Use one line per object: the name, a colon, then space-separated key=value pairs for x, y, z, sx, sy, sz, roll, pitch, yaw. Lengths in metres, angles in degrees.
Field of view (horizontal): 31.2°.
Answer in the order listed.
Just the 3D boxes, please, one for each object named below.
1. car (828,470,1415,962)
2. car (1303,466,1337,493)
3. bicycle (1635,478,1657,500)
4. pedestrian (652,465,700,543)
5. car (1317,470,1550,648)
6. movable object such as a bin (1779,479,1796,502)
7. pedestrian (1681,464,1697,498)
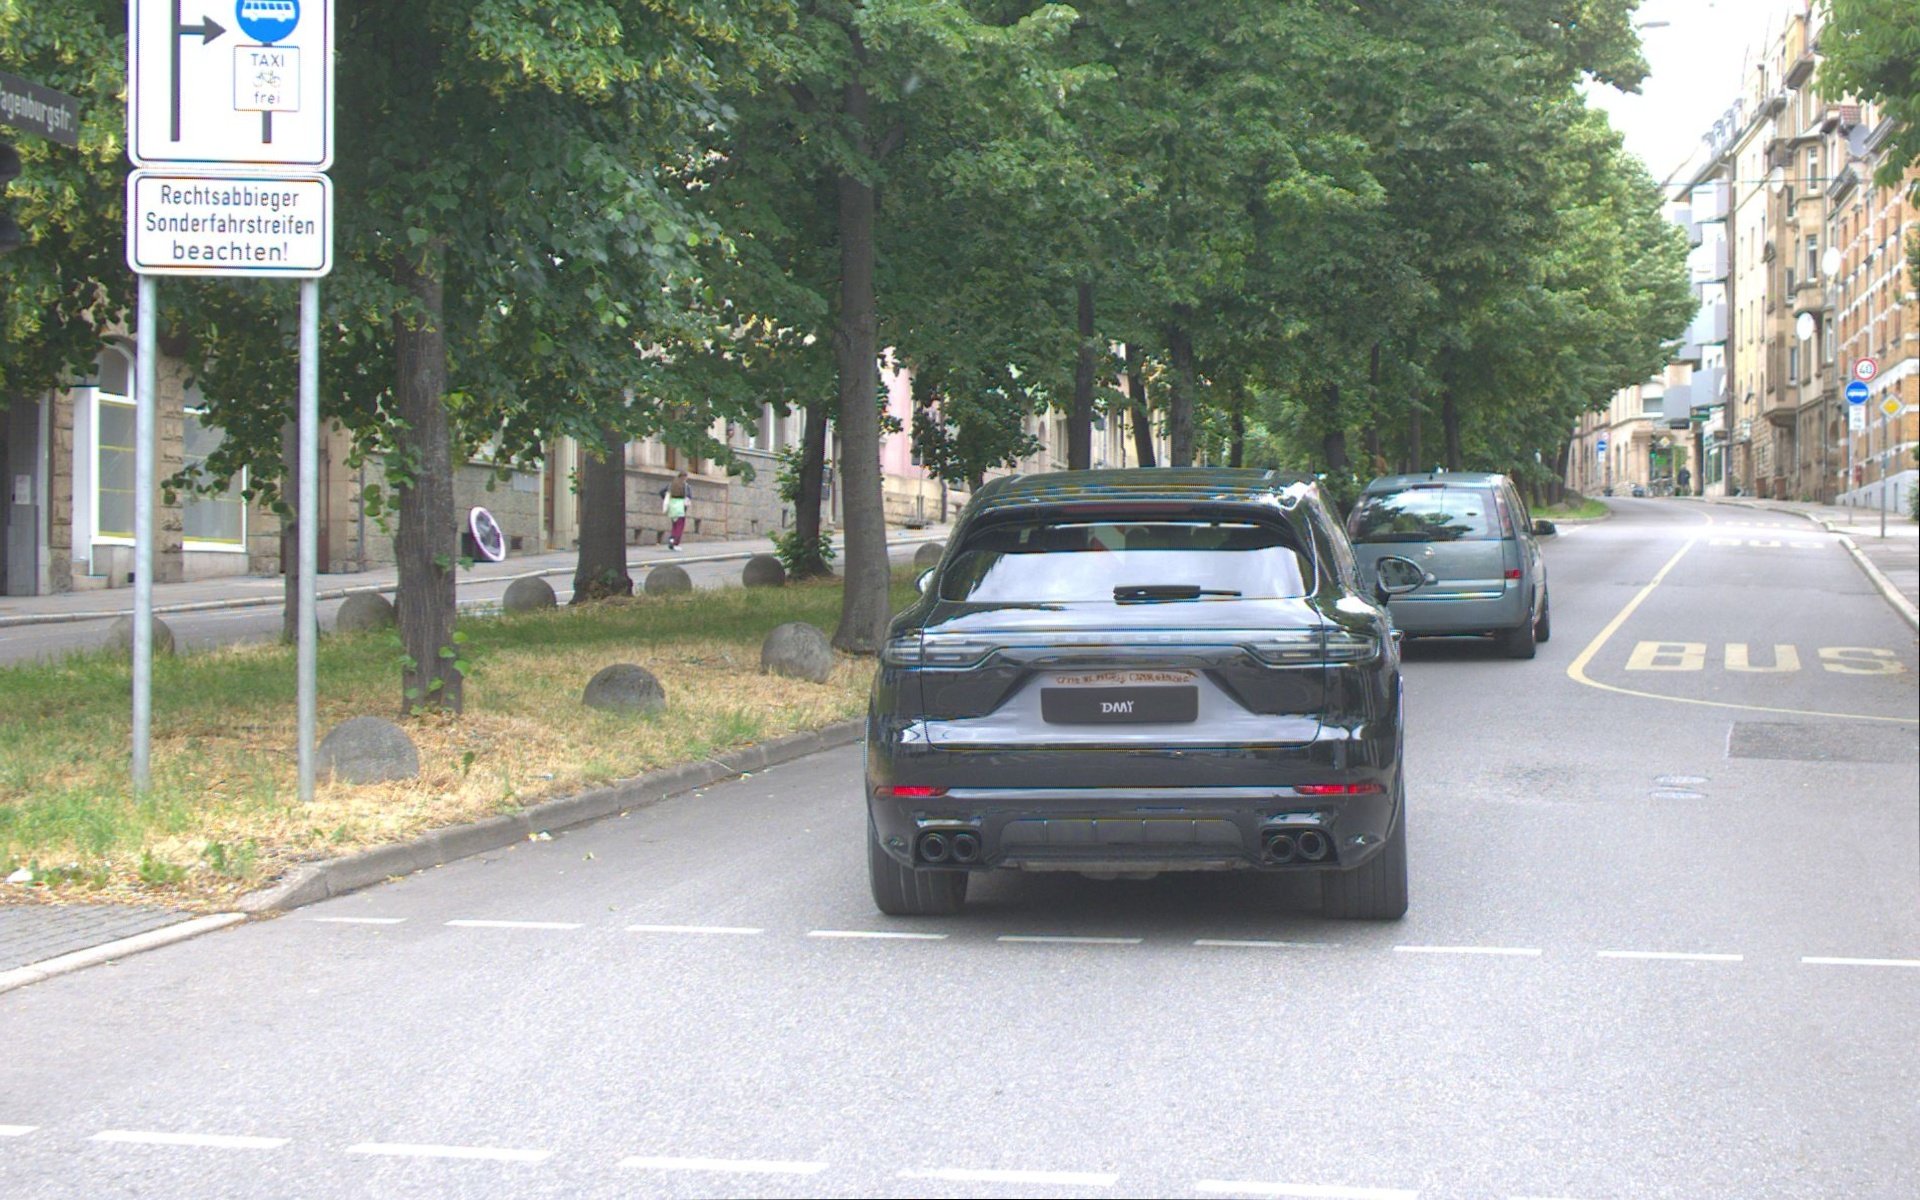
car: x=0.797 y=0.321 z=13.692 sx=1.994 sy=1.660 sz=3.999 roll=0 pitch=2 yaw=7
car: x=19.622 y=-6.578 z=187.320 sx=1.709 sy=1.377 sz=4.668 roll=-1 pitch=3 yaw=7
bicycle: x=38.846 y=-6.285 z=194.751 sx=0.879 sy=1.125 sz=2.979 roll=1 pitch=0 yaw=6
pedestrian: x=-5.336 y=-1.812 z=64.668 sx=0.699 sy=1.455 sz=0.703 roll=1 pitch=3 yaw=14
car: x=4.261 y=-0.380 z=30.560 sx=1.764 sy=1.460 sz=3.590 roll=1 pitch=1 yaw=12
movable object such as a bin: x=32.471 y=-4.297 z=134.864 sx=0.594 sy=0.901 sz=0.562 roll=1 pitch=1 yaw=8
pedestrian: x=37.256 y=-6.093 z=175.689 sx=0.751 sy=1.687 sz=0.858 roll=0 pitch=0 yaw=8
